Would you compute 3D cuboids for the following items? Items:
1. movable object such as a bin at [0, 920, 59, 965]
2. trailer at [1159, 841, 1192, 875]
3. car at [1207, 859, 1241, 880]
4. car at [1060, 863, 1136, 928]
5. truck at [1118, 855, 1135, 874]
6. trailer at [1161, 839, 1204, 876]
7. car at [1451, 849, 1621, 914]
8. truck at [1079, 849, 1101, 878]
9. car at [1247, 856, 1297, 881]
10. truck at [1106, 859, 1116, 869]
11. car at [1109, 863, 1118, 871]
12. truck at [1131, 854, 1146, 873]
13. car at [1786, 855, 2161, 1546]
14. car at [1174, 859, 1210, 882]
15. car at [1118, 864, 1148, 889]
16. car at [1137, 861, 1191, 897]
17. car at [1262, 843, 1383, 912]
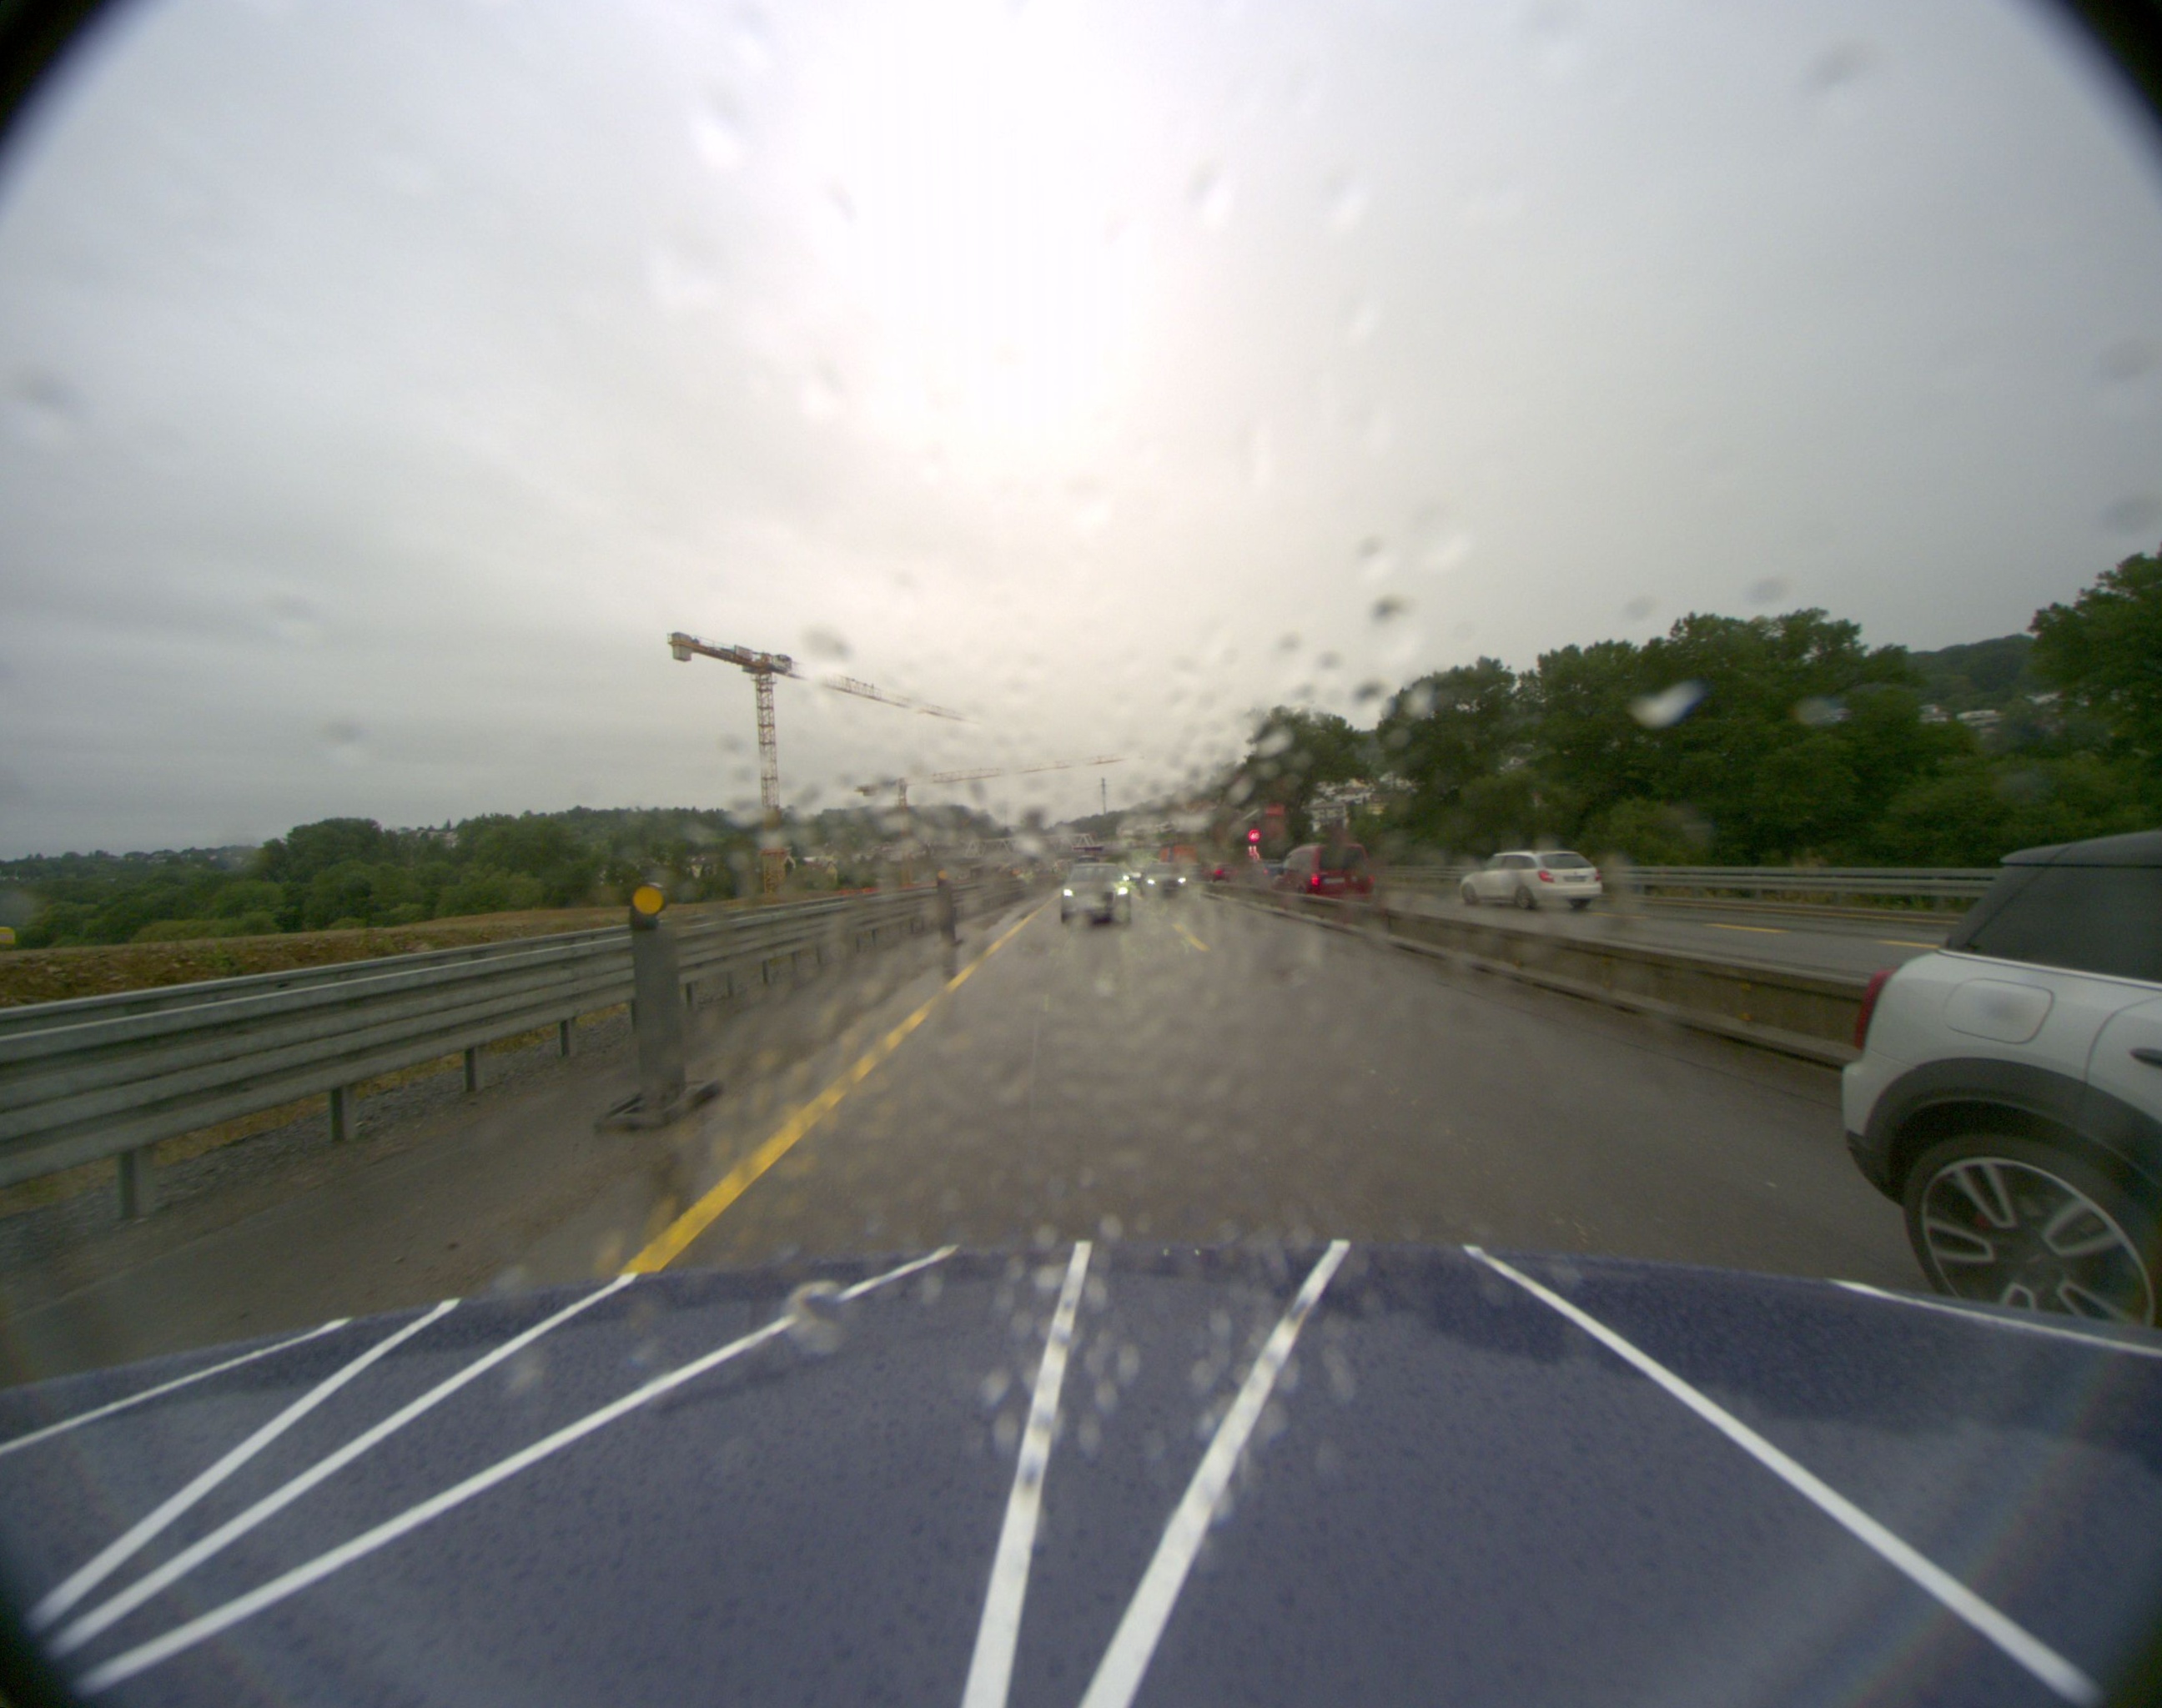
[{"bbox_3d":[-35.265,2.915,24.338,1.391,1.293,2.705,-2,0,-3],"label":"movable object such as a bin"},{"bbox_3d":[11.748,0.551,94.885,3.278,3.895,6.353,-2,-1,1],"label":"trailer"},{"bbox_3d":[11.250,1.191,60.015,1.822,1.501,4.306,-2,0,1],"label":"car"},{"bbox_3d":[0.446,1.032,20.545,1.781,1.514,4.141,-2,0,1],"label":"car"},{"bbox_3d":[7.860,1.782,131.588,2.413,2.976,6.539,-2,0,1],"label":"truck"},{"bbox_3d":[11.617,0.460,88.562,3.285,3.885,13.701,-2,-1,1],"label":"trailer"},{"bbox_3d":[12.043,0.709,20.510,1.851,1.567,4.270,0,-1,-4],"label":"car"},{"bbox_3d":[1.134,1.185,96.607,2.575,3.450,6.627,-2,0,1],"label":"truck"},{"bbox_3d":[12.570,0.950,50.383,1.999,1.501,4.746,-2,-1,-1],"label":"car"},{"bbox_3d":[8.898,2.958,224.445,2.800,2.769,5.498,-2,0,0],"label":"truck"},{"bbox_3d":[8.230,3.193,192.323,2.165,2.001,4.479,0,-1,1],"label":"car"},{"bbox_3d":[11.569,1.950,152.880,2.607,3.605,6.539,-2,0,1],"label":"truck"},{"bbox_3d":[3.409,0.790,0.537,1.820,1.591,4.308,-2,-1,1],"label":"car"},{"bbox_3d":[7.449,1.122,51.333,1.912,1.440,4.412,0,-1,1],"label":"car"},{"bbox_3d":[3.462,1.482,51.248,1.781,1.430,4.484,-2,0,1],"label":"car"},{"bbox_3d":[3.674,1.085,34.381,1.951,1.430,4.484,-2,0,1],"label":"car"},{"bbox_3d":[6.735,0.651,21.763,1.850,1.737,4.845,0,-1,-1],"label":"car"}]
